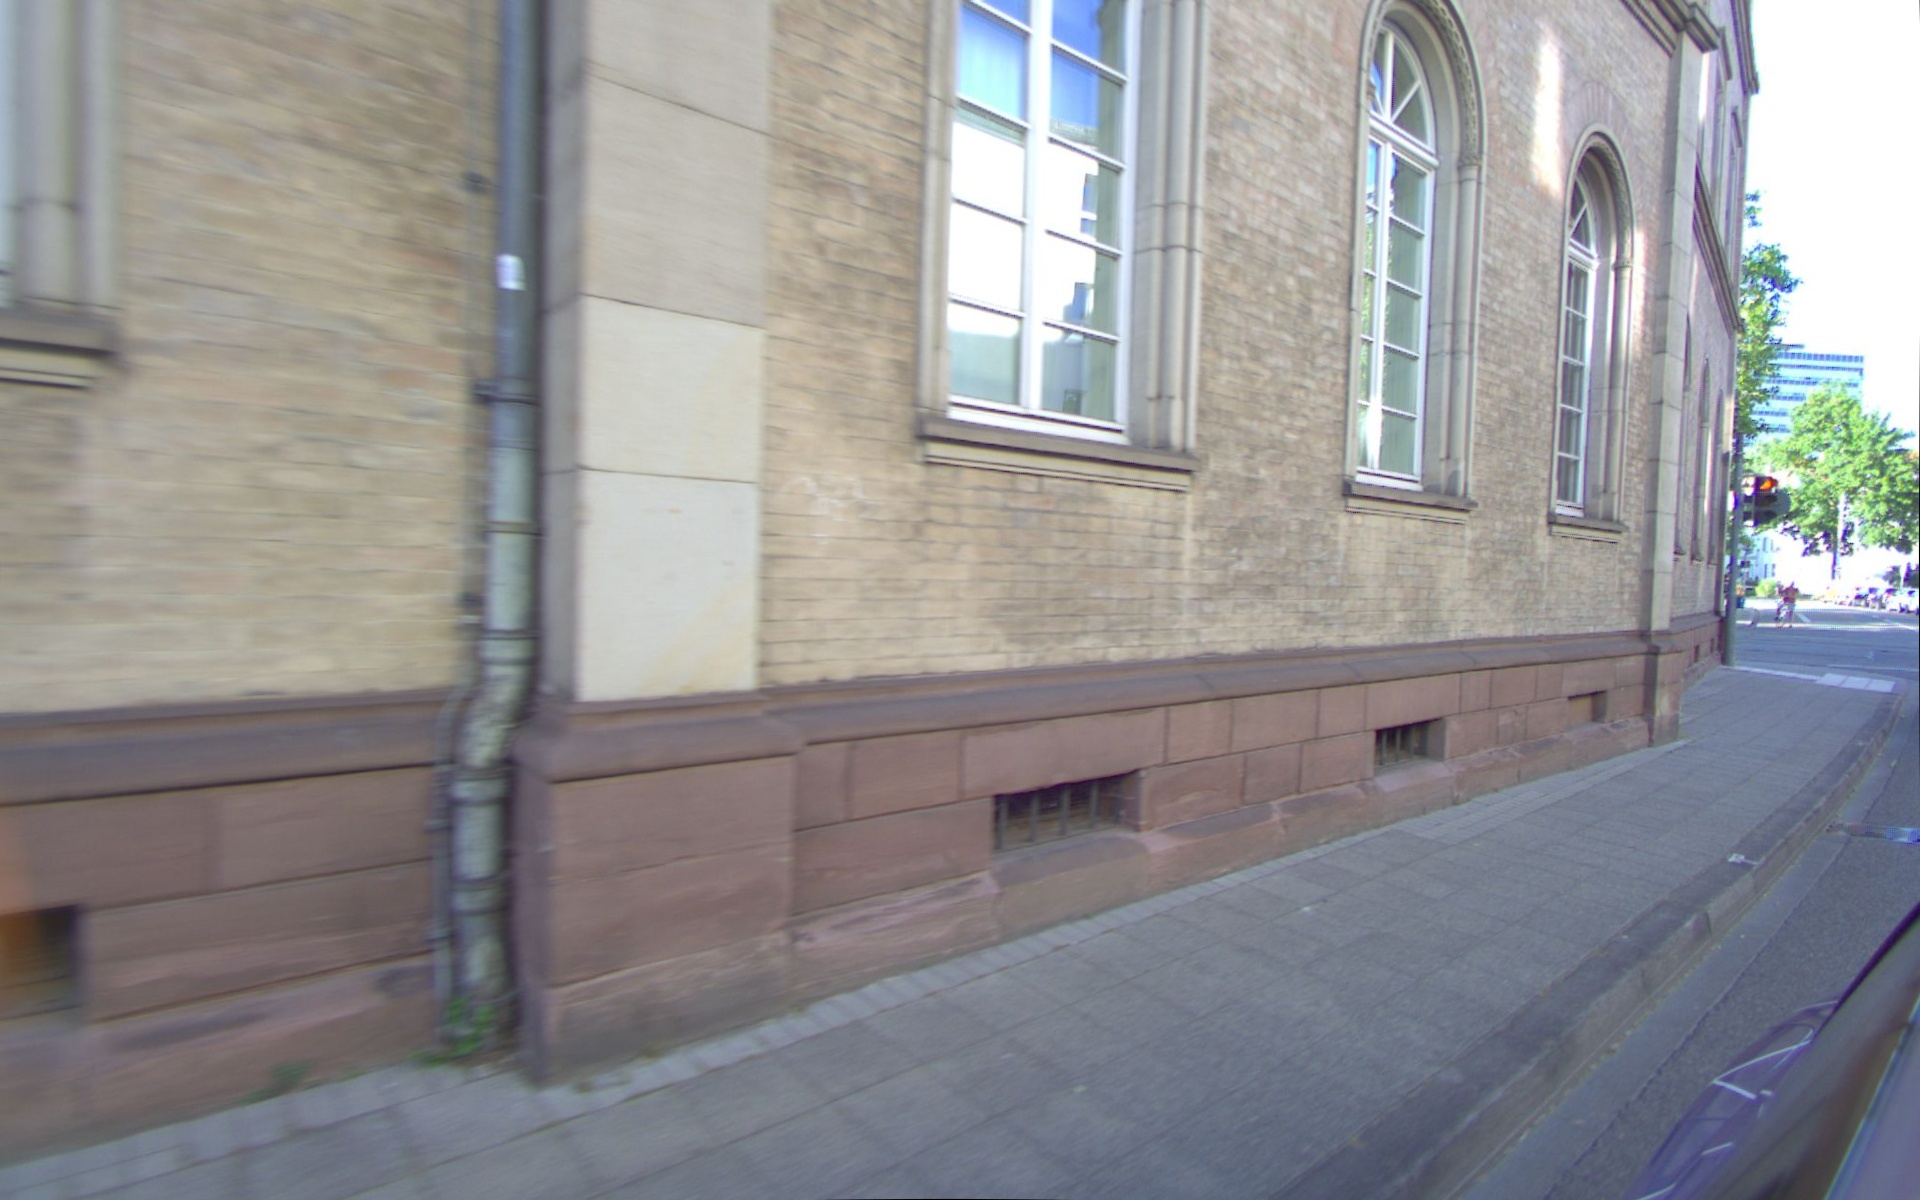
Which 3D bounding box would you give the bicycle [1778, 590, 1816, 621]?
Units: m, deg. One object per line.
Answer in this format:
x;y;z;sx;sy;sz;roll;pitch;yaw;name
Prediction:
30.893;0.187;37.399;0.938;1.051;2.965;3;2;38;bicycle

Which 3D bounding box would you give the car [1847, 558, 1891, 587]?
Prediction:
65.695;-1.976;73.168;1.990;2.038;3.946;3;2;38;car

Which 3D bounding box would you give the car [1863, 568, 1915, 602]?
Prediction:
58.554;-0.939;63.860;1.990;2.038;3.946;3;2;38;car

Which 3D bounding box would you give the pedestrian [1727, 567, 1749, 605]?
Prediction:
39.182;-0.728;50.994;0.662;1.878;1.015;2;2;29;pedestrian

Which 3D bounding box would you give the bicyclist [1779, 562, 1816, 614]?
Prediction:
30.820;-0.450;37.242;0.973;1.830;1.116;2;2;39;bicyclist

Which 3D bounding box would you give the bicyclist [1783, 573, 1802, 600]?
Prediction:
50.205;-0.834;61.009;0.757;1.612;0.890;2;2;36;bicyclist

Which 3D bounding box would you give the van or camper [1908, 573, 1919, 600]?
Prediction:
76.240;-0.972;77.602;4.691;2.112;1.980;2;2;30;van or camper

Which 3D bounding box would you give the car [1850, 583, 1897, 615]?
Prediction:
61.880;-0.114;68.630;1.990;2.038;3.946;3;2;38;car

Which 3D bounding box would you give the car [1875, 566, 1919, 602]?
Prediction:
55.900;-0.964;60.055;1.990;2.038;3.946;3;2;38;car

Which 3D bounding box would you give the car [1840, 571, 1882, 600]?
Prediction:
68.286;-1.069;76.745;1.990;2.039;3.945;3;1;38;car

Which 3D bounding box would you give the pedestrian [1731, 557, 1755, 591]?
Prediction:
79.428;-2.652;102.648;1.442;3.349;1.396;2;2;22;pedestrian
